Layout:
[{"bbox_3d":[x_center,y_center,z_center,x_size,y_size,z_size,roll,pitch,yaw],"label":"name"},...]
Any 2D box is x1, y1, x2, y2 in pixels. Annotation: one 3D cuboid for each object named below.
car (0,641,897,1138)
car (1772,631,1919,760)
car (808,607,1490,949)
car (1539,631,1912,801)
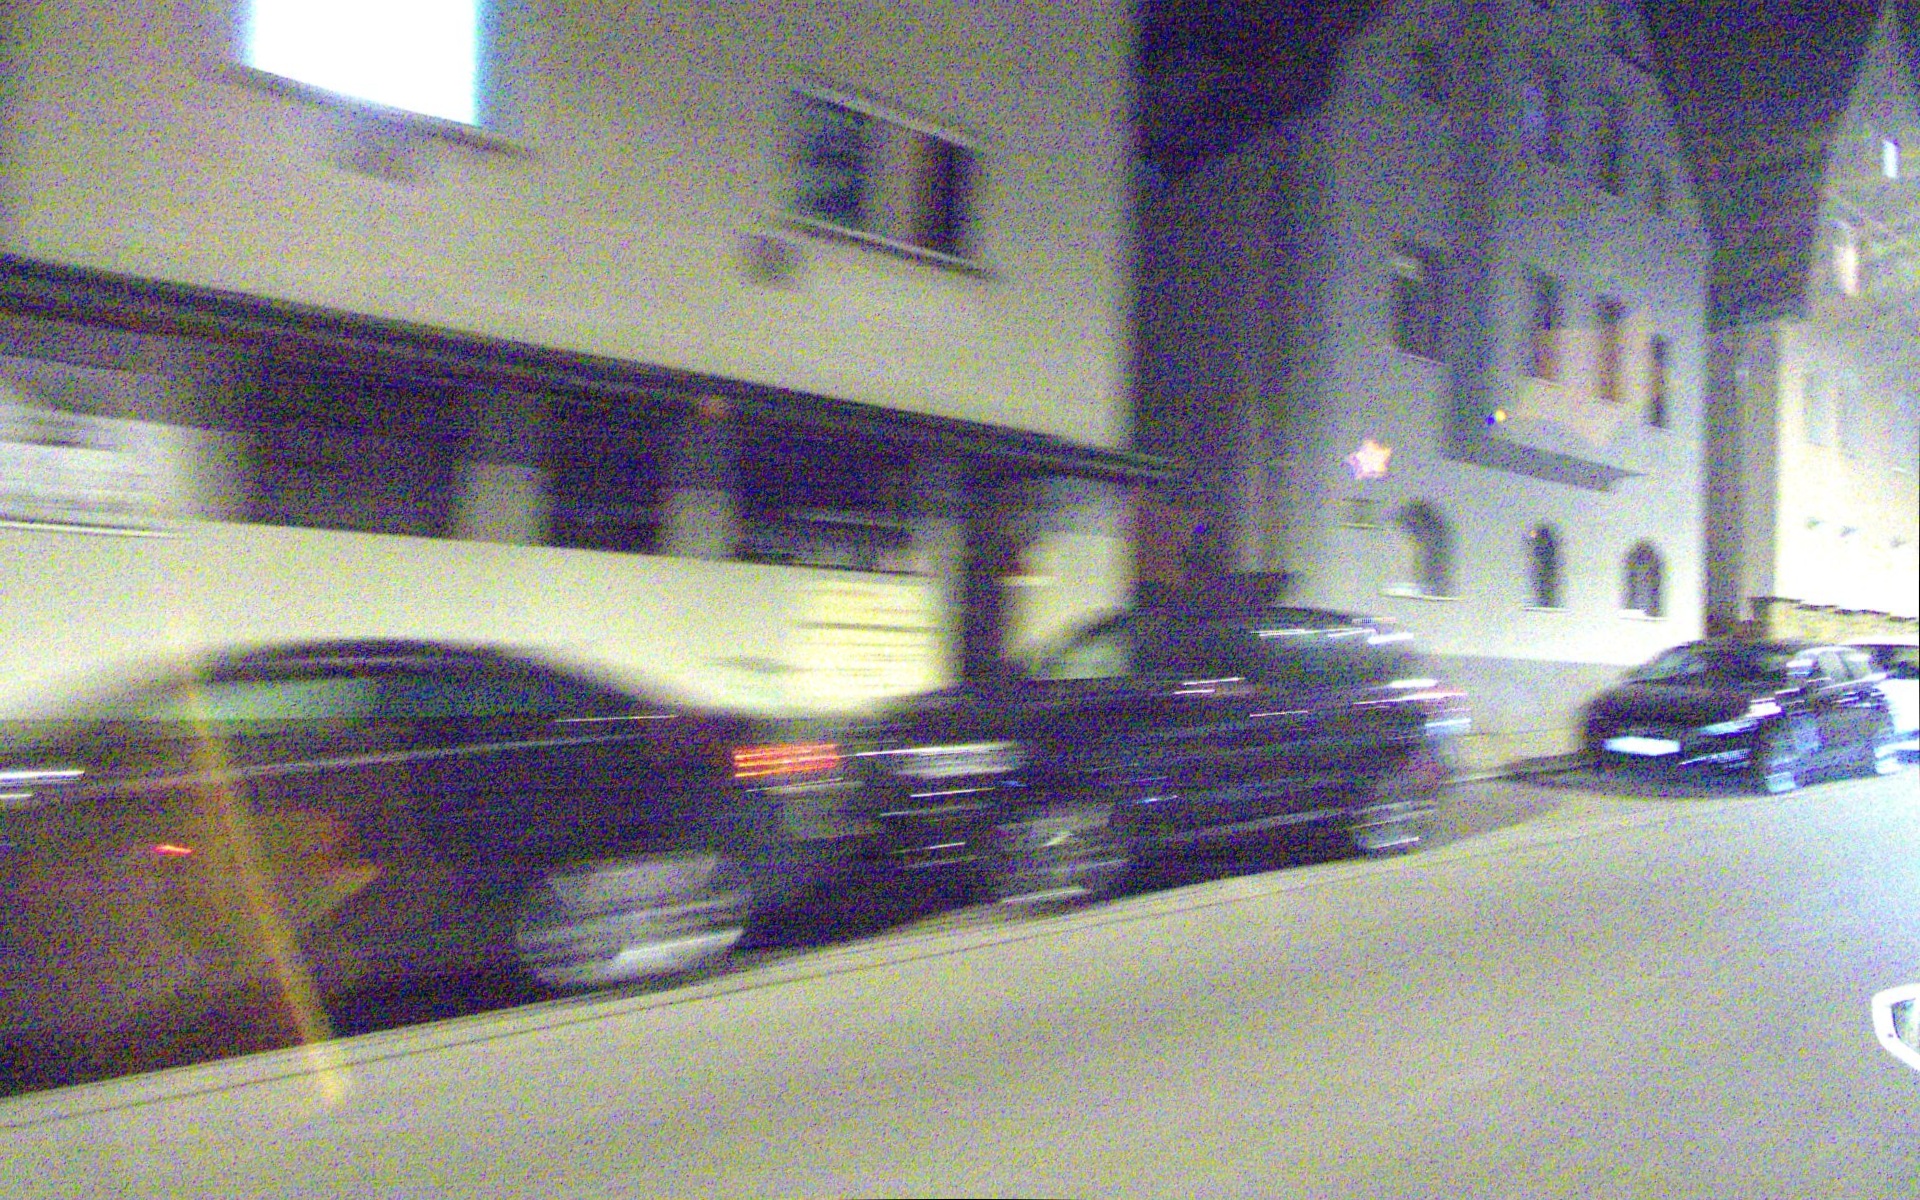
[{"bbox_3d":[-2.672,0.938,4.280,4.493,1.466,1.826,1,-3,-32],"label":"car"},{"bbox_3d":[12.541,1.193,13.319,3.738,1.511,1.613,2,-2,-32],"label":"car"},{"bbox_3d":[1.412,0.905,6.797,4.493,1.640,1.826,1,-2,-31],"label":"car"},{"bbox_3d":[8.405,1.126,10.954,4.232,1.511,1.854,2,-2,-32],"label":"car"}]
